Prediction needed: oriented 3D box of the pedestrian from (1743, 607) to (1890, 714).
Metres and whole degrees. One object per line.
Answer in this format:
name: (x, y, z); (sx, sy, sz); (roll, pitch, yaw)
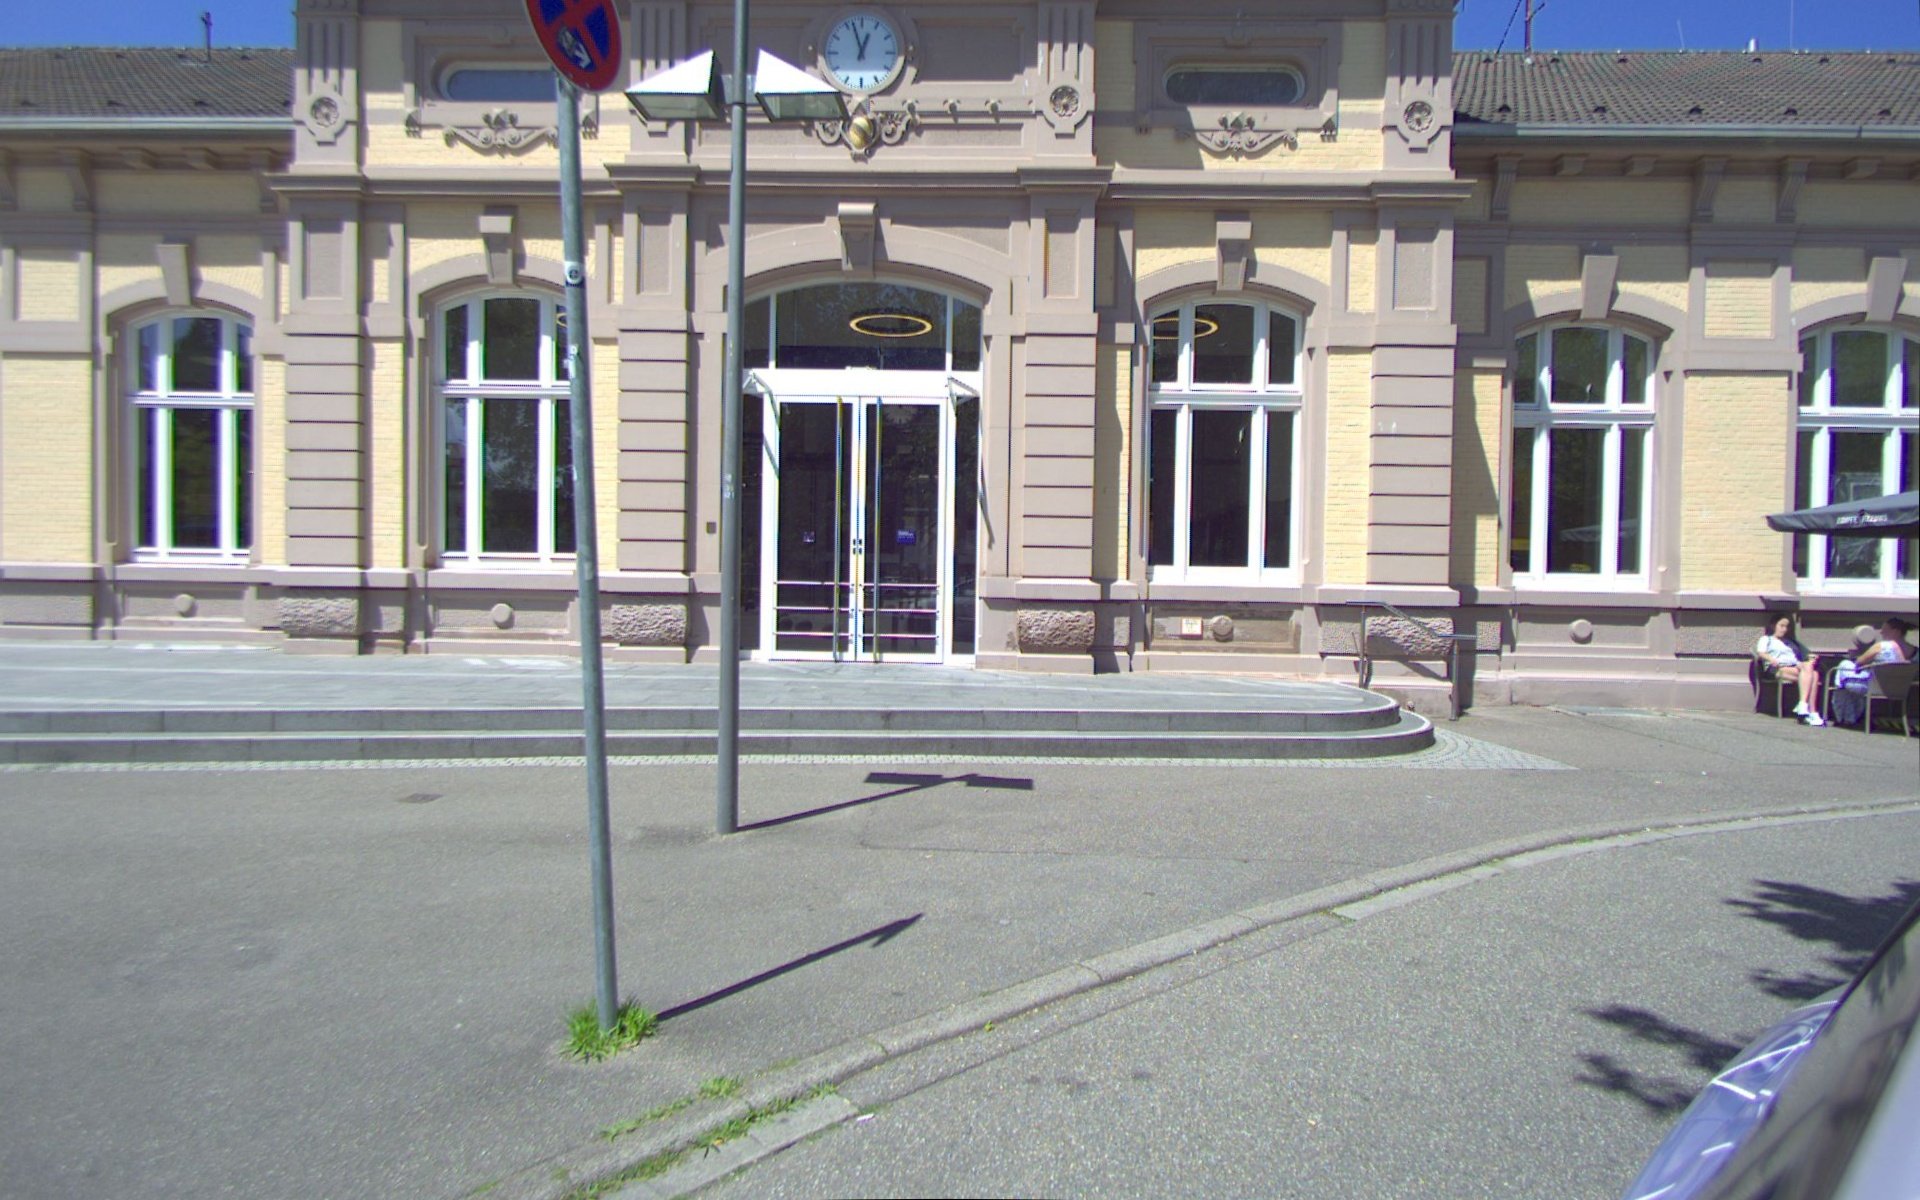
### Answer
pedestrian: (9.652, 0.662, 11.443); (0.835, 1.093, 0.883); (1, 3, -2)

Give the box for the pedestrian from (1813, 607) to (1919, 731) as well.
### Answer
pedestrian: (9.681, 0.690, 10.501); (0.835, 1.176, 0.883); (1, 3, -2)
